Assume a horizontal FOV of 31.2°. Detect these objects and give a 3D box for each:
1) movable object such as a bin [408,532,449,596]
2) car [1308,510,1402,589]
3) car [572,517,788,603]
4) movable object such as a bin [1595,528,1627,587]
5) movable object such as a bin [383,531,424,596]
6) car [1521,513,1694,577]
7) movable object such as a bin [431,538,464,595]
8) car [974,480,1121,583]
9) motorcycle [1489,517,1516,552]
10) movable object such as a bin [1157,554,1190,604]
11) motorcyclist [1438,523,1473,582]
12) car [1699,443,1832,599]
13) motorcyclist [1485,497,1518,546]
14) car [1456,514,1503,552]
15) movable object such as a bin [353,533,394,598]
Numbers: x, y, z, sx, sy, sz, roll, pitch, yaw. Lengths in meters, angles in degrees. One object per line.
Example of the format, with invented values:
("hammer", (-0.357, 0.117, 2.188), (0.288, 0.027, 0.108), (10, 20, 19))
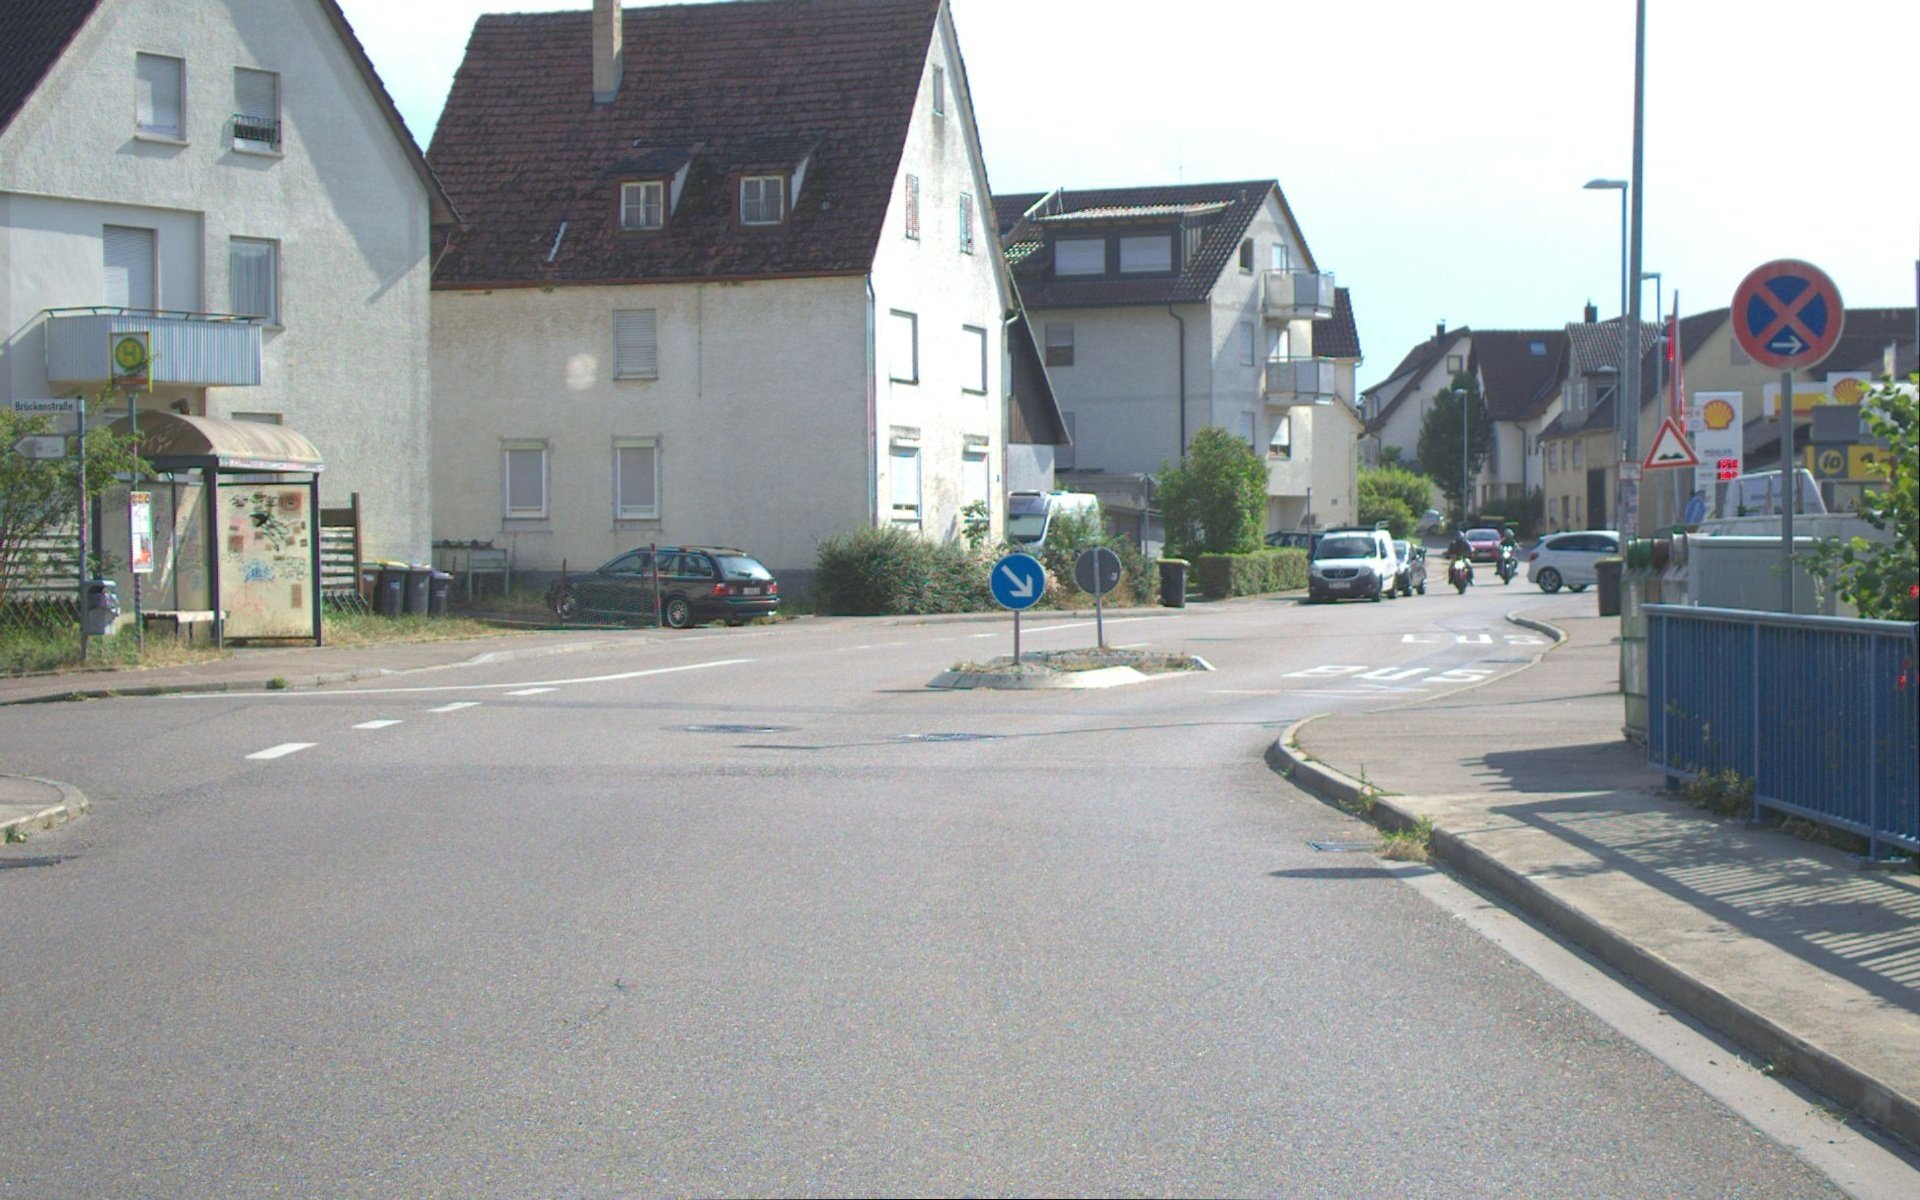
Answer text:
("movable object such as a bin", (-8.504, -0.570, 55.047), (0.362, 1.019, 0.576), (0, 0, 31))
("car", (9.920, -1.282, 86.121), (1.717, 1.866, 4.189), (-1, 2, 15))
("car", (-5.155, -0.758, 63.034), (3.997, 1.428, 1.649), (3, 3, 42))
("movable object such as a bin", (12.071, -0.783, 63.755), (0.567, 1.071, 0.572), (-1, 2, 10))
("movable object such as a bin", (-8.833, -0.577, 54.540), (0.362, 1.037, 0.557), (0, 0, 31))
("car", (16.948, -1.460, 90.043), (3.995, 1.602, 1.996), (1, 2, 34))
("movable object such as a bin", (-8.271, -0.544, 55.502), (0.362, 0.922, 0.399), (0, 0, 31))
("car", (2.371, -1.864, 91.070), (2.160, 2.587, 6.089), (1, 2, 19))
("motorcycle", (16.076, -1.938, 101.814), (0.525, 1.009, 2.026), (2, 2, 16))
("movable object such as a bin", (4.764, -0.478, 76.630), (0.611, 1.097, 0.575), (1, 1, 15))
("motorcyclist", (13.172, -1.265, 91.371), (0.737, 1.521, 1.016), (3, 1, 16))
("car", (12.942, -1.289, 55.464), (1.837, 2.366, 5.176), (-1, 2, 11))
("motorcyclist", (16.028, -2.313, 101.697), (0.803, 1.431, 1.036), (1, 2, 17))
("car", (20.423, -2.656, 135.251), (1.709, 1.430, 3.779), (-1, 2, 7))
("movable object such as a bin", (-9.221, -0.546, 54.040), (0.362, 1.012, 0.557), (0, 0, 31))
